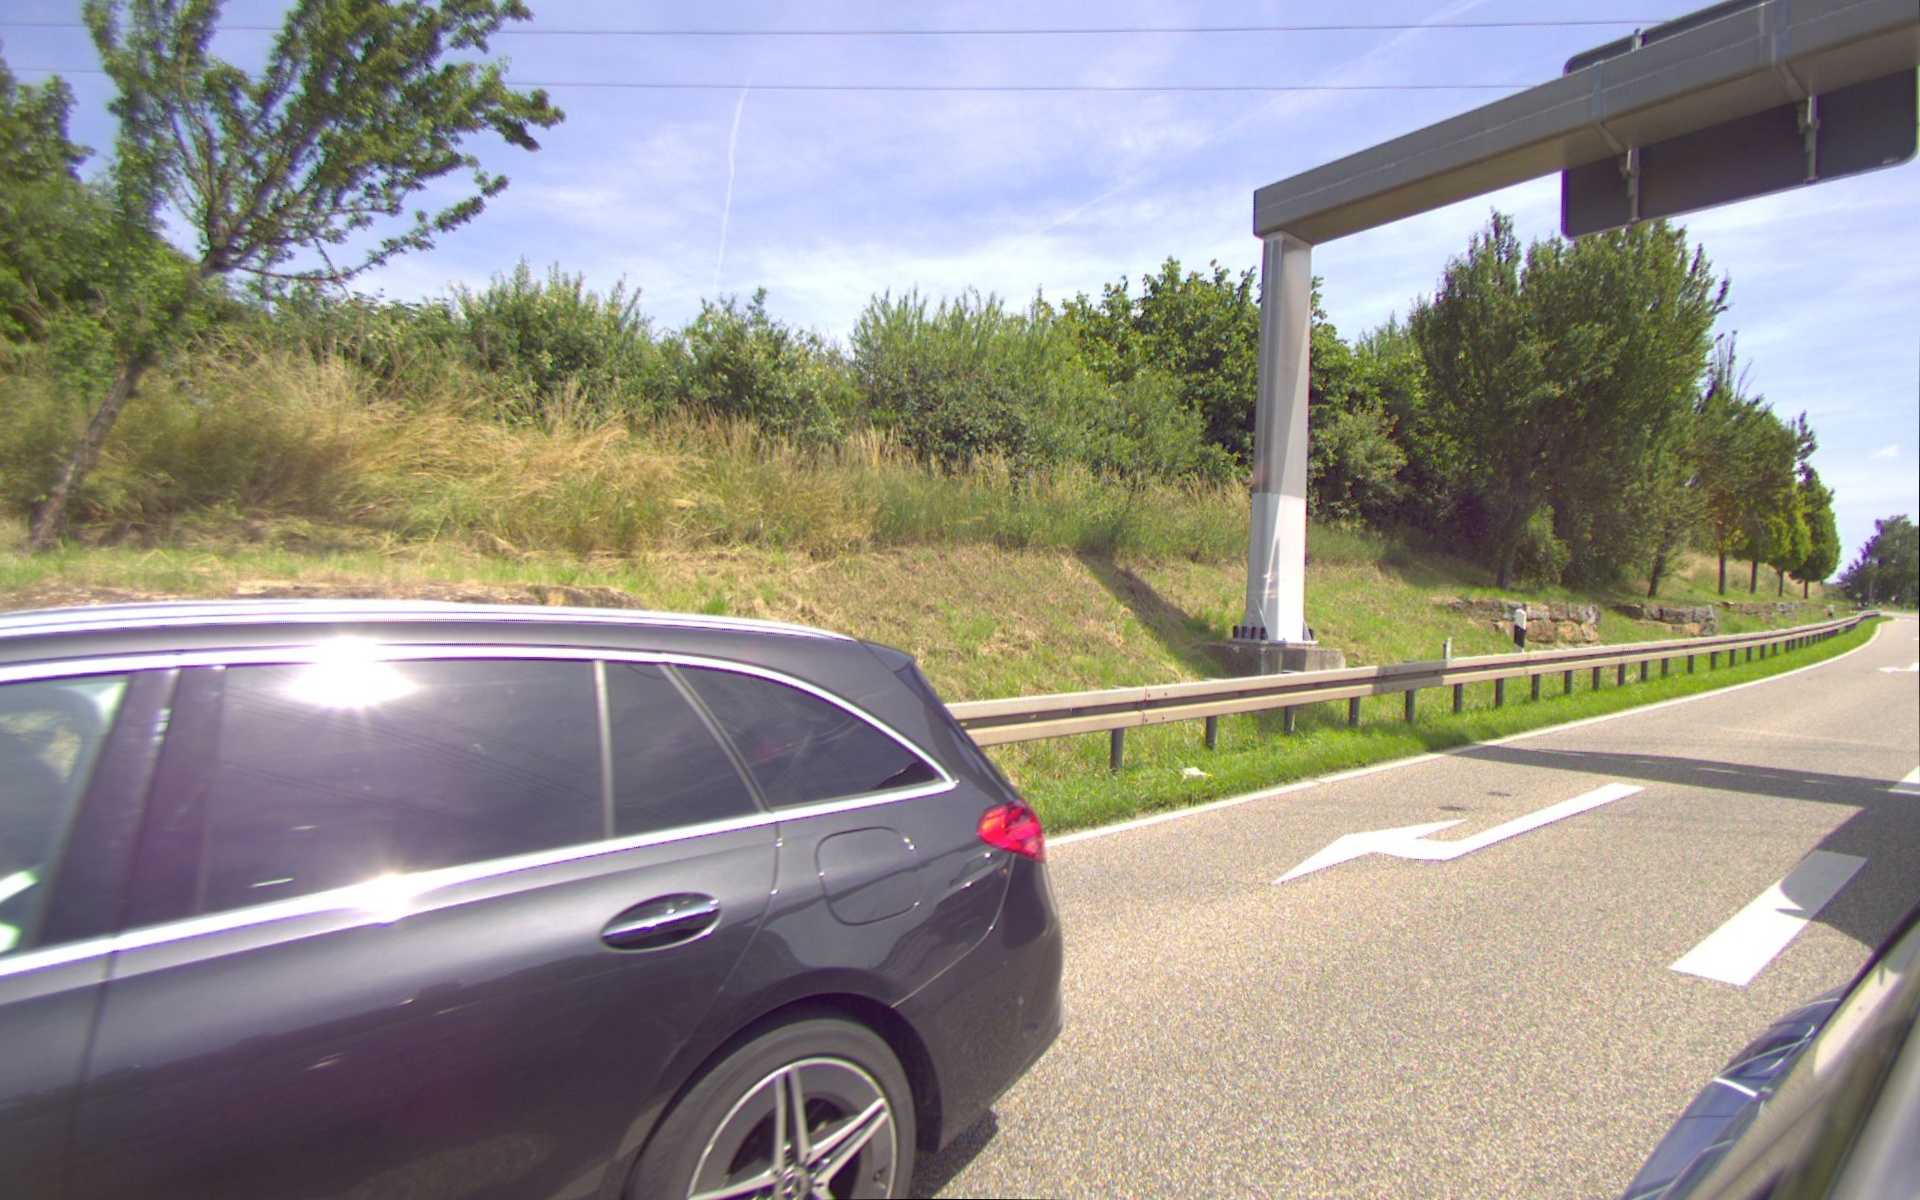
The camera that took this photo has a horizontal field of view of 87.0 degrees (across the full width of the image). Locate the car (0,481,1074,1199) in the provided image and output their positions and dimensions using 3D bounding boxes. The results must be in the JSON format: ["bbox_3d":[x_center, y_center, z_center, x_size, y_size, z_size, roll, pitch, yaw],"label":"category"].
[{"bbox_3d":[-1.889,0.631,1.741,4.223,1.551,1.749,-1,0,-41],"label":"car"}]
